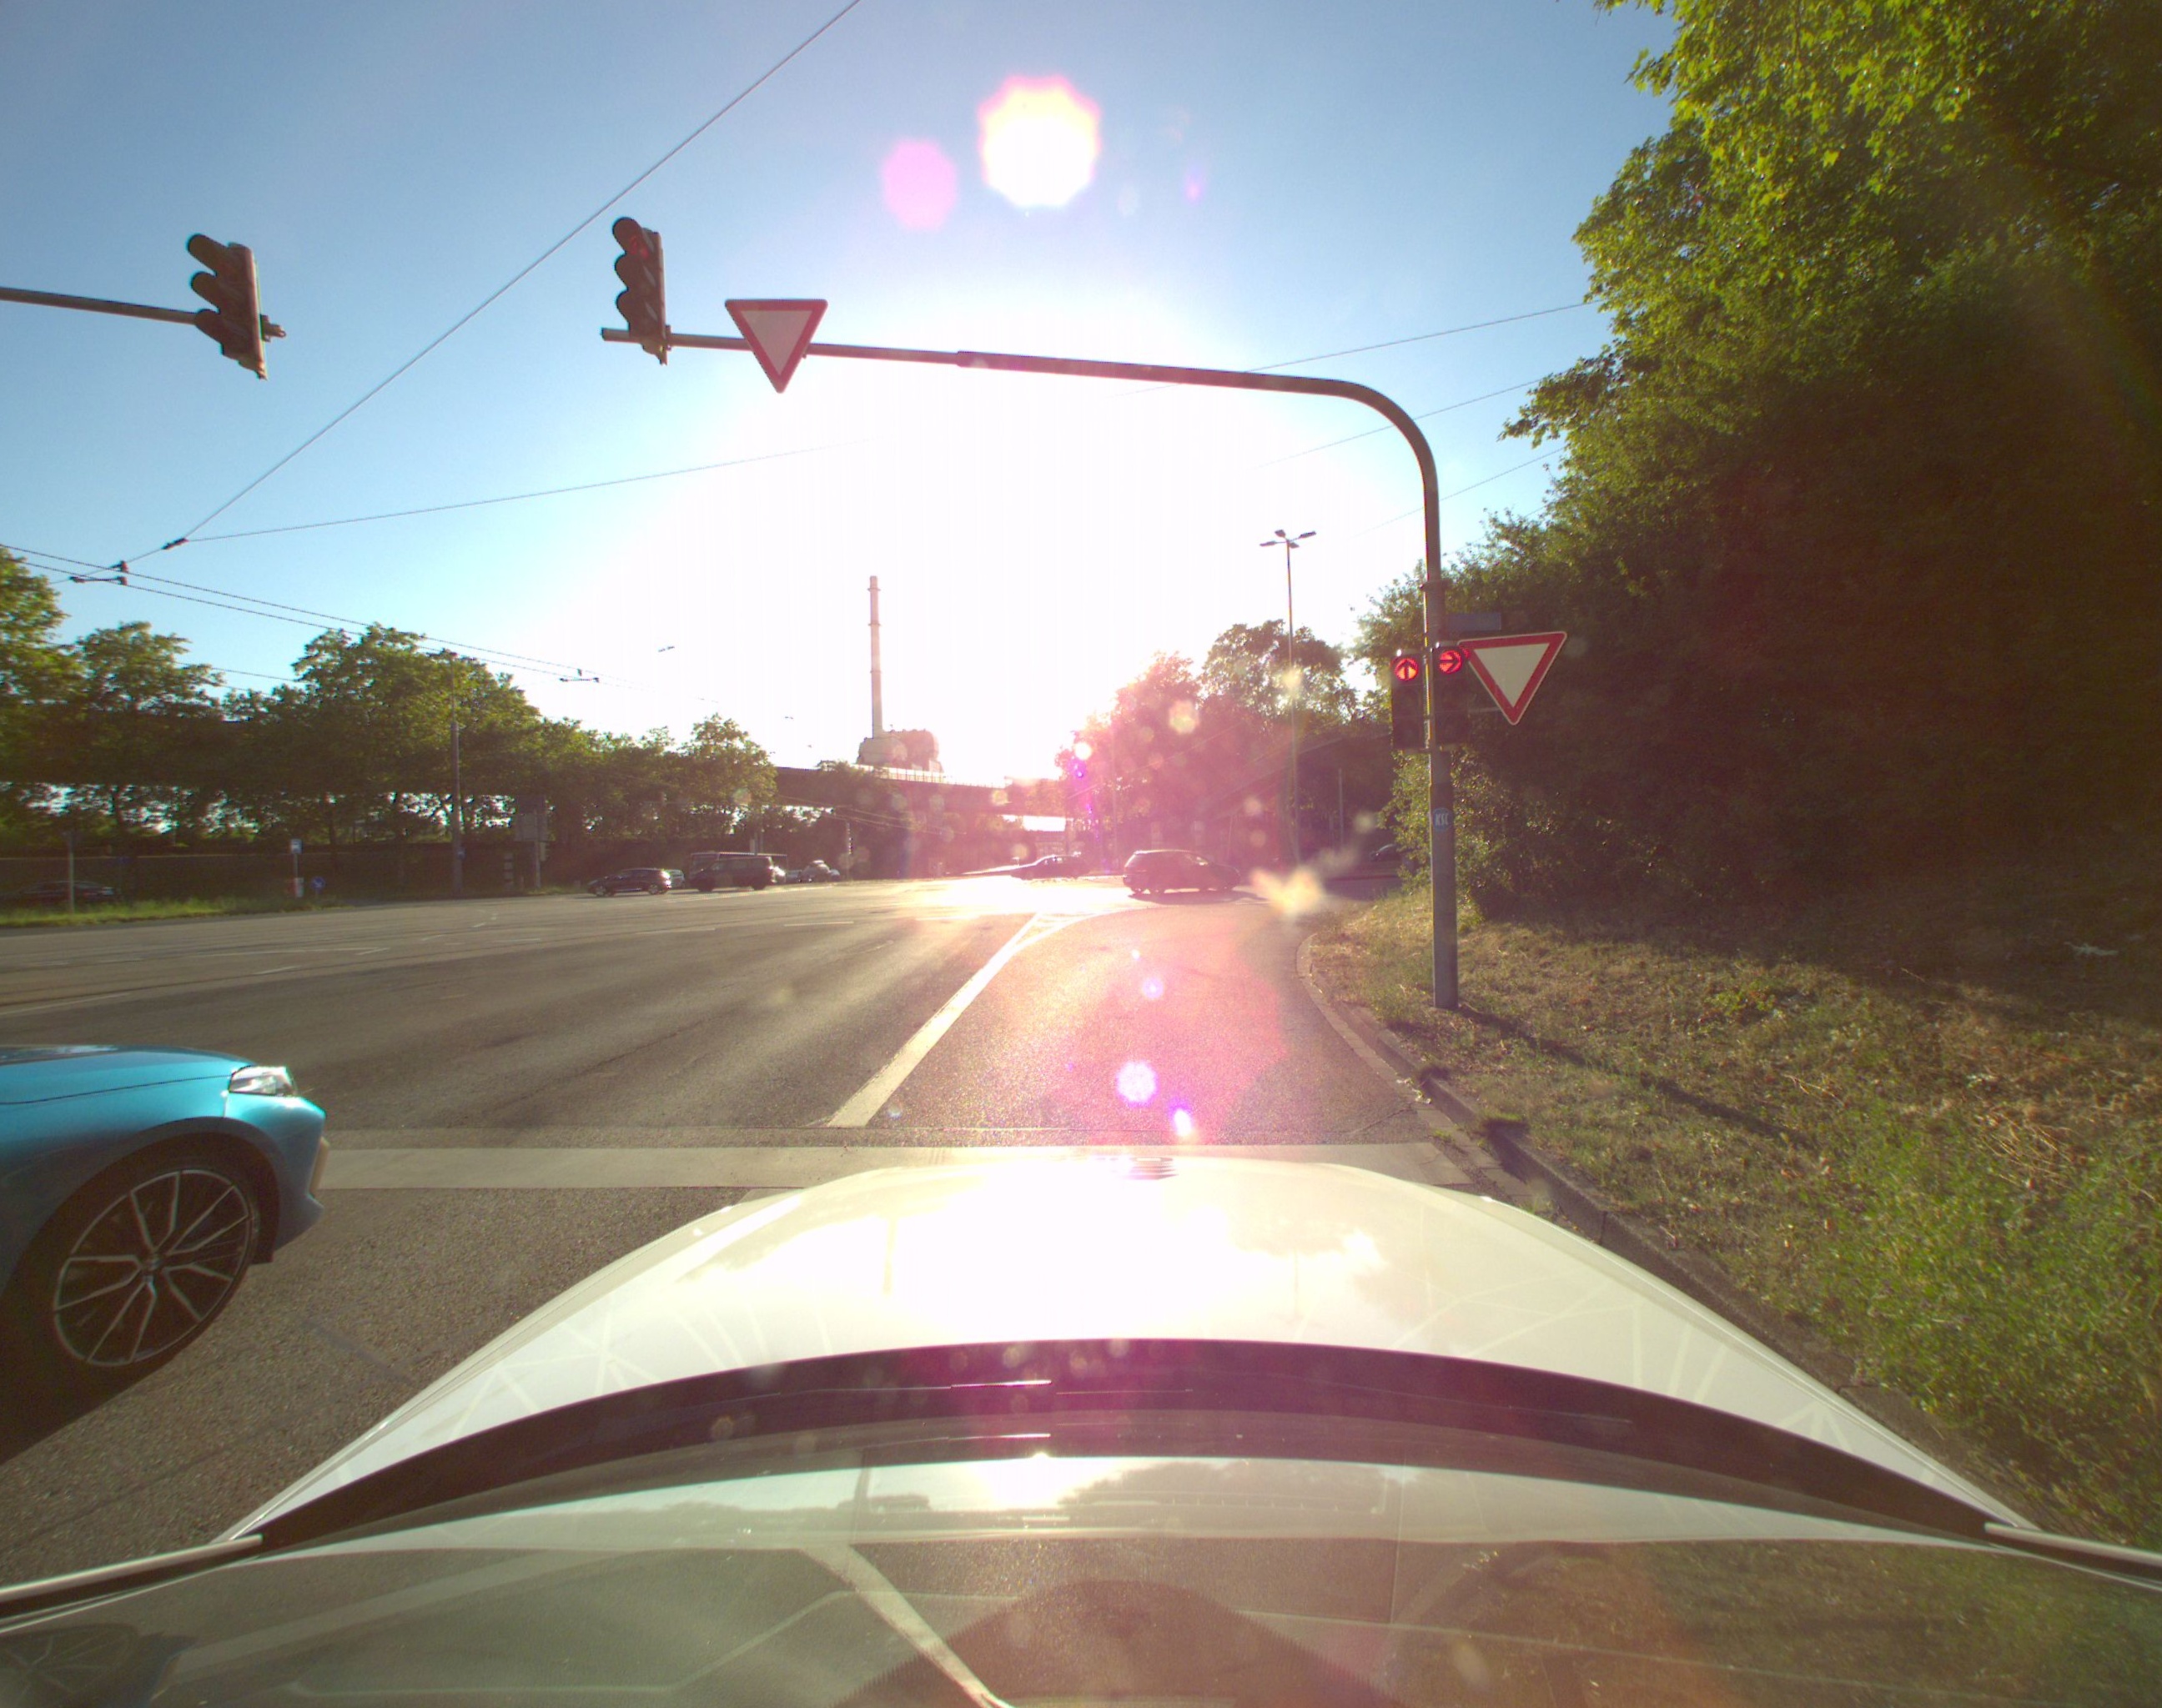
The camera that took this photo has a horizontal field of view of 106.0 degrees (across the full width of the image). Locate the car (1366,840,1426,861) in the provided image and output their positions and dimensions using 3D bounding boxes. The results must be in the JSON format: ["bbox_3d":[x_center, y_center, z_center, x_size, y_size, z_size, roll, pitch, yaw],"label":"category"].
[{"bbox_3d":[22.385,-0.256,57.905,3.730,1.422,1.687,-1,0,-17],"label":"car"}]

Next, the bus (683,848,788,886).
[{"bbox_3d":[-29.542,1.045,70.673,2.810,2.954,12.866,-1,0,4],"label":"bus"}]

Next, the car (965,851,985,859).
[{"bbox_3d":[-21.515,0.209,165.739,1.974,1.771,4.025,-1,-1,34],"label":"car"}]

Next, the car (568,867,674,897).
[{"bbox_3d":[-24.702,1.466,43.880,4.515,1.454,1.995,-1,0,-7],"label":"car"}]

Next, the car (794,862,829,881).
[{"bbox_3d":[-25.166,1.578,76.085,1.704,1.652,4.097,-1,0,2],"label":"car"}]

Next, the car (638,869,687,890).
[{"bbox_3d":[-30.102,1.823,58.700,1.599,1.354,3.734,-1,0,0],"label":"car"}]

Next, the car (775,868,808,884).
[{"bbox_3d":[-28.893,2.211,81.376,1.693,1.442,4.002,-1,0,2],"label":"car"}]

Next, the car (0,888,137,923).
[{"bbox_3d":[-49.249,2.458,39.310,4.518,1.454,1.994,-1,0,-9],"label":"car"}]

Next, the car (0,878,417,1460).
[{"bbox_3d":[-3.576,0.813,1.042,1.779,1.417,4.511,-1,0,-1],"label":"car"}]

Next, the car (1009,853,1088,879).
[{"bbox_3d":[-1.998,0.725,49.901,4.529,1.454,1.989,-1,0,-16],"label":"car"}]

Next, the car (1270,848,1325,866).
[{"bbox_3d":[17.748,0.256,66.904,4.120,1.422,1.698,-1,0,3],"label":"car"}]

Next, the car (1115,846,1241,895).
[{"bbox_3d":[3.312,0.530,27.875,3.917,1.517,1.723,-1,0,-20],"label":"car"}]

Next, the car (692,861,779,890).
[{"bbox_3d":[-20.773,1.254,49.126,4.528,1.623,1.990,-1,0,-15],"label":"car"}]
